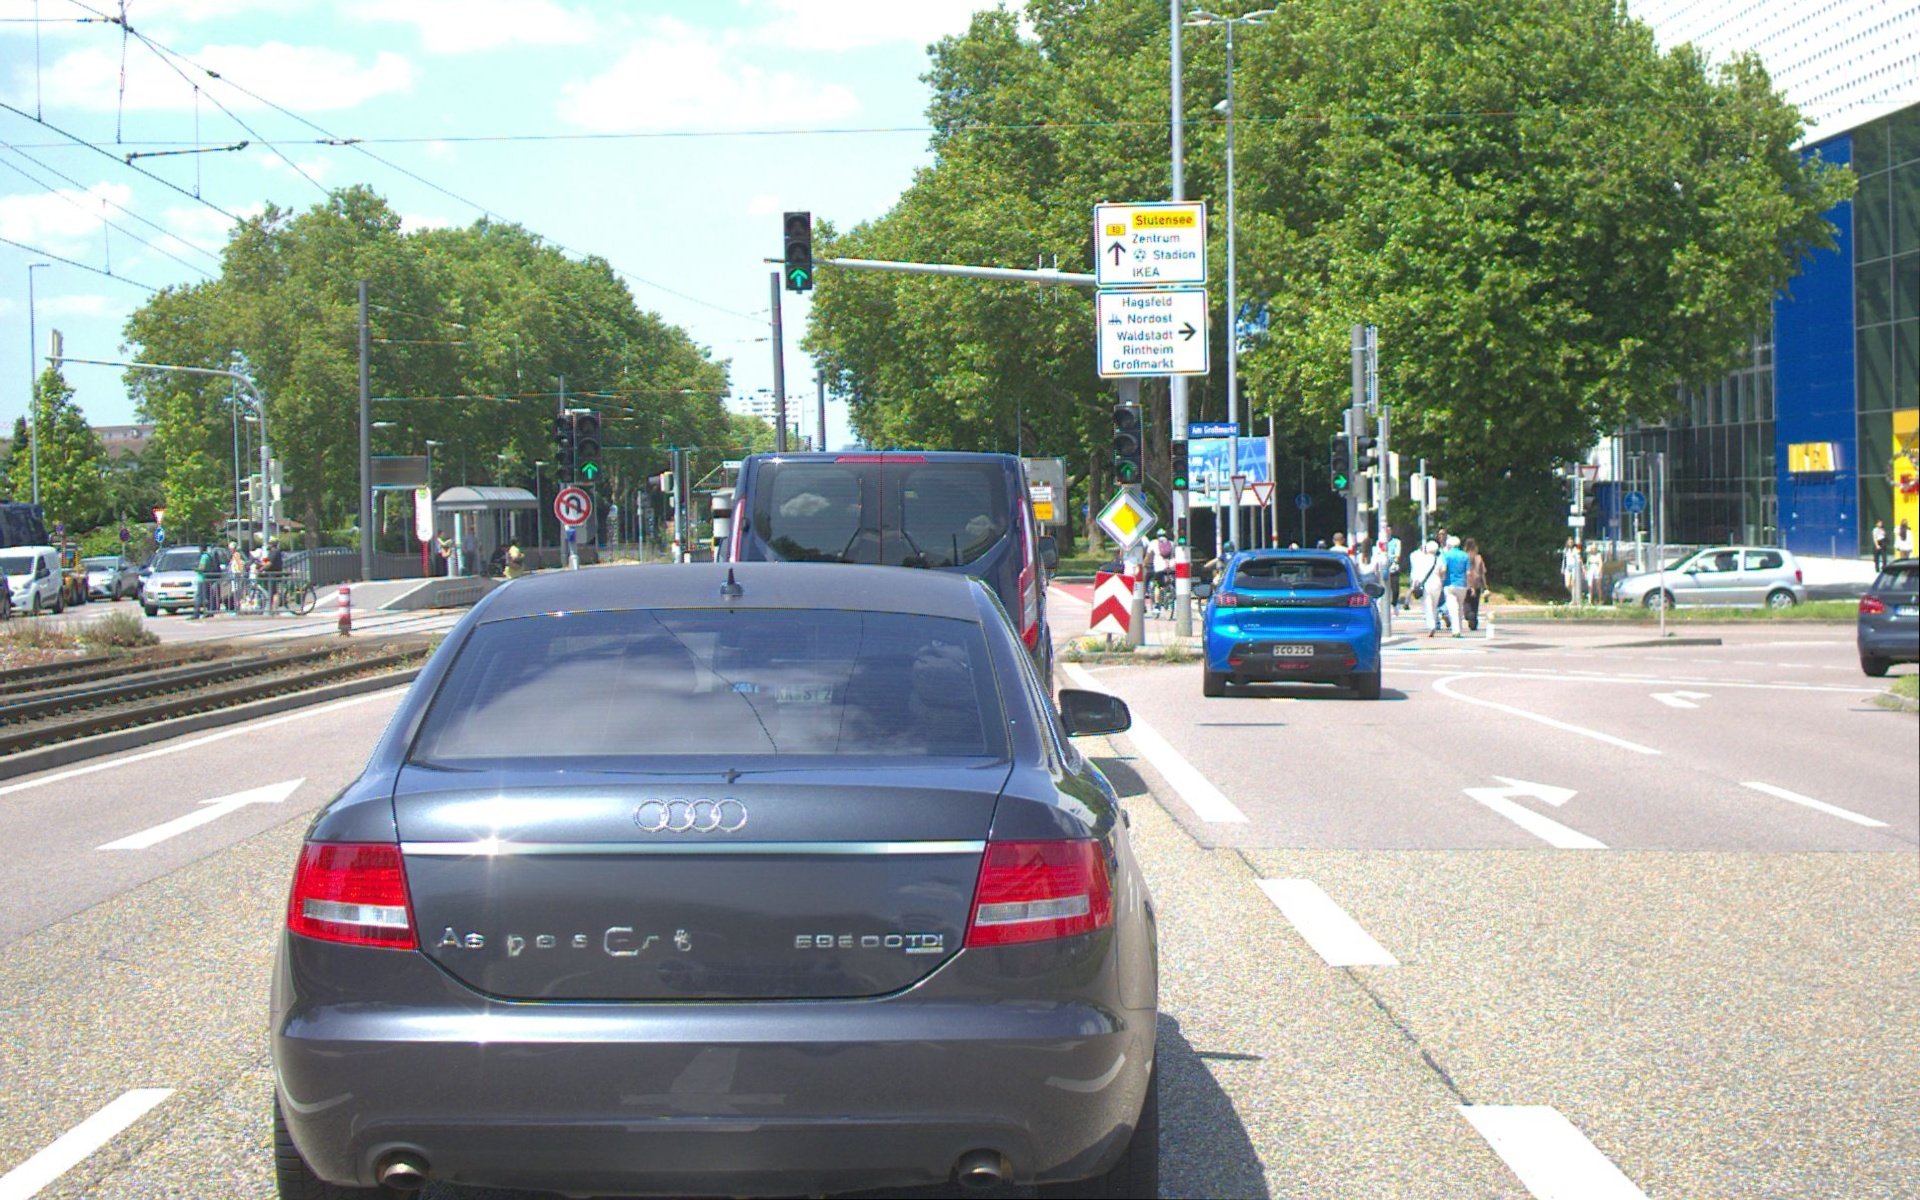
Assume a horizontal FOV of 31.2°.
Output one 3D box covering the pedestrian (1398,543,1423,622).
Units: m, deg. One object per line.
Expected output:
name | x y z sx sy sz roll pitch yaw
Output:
pedestrian | 7.438 -0.293 56.809 0.372 1.299 0.365 0 1 3

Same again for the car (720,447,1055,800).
car | -0.425 0.099 20.901 1.836 1.943 4.000 0 1 -1

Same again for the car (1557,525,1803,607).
car | 14.248 -0.687 68.214 4.498 1.481 2.000 1 1 3

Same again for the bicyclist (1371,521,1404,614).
bicyclist | 8.135 -0.613 65.430 0.529 1.758 0.827 0 1 13

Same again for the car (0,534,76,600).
car | -25.097 -0.892 91.656 1.822 1.664 4.461 1 1 1

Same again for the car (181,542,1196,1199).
car | -0.492 0.612 8.107 1.792 1.450 4.000 0 1 0

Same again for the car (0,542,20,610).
car | -24.712 -0.593 84.790 1.822 1.664 4.461 1 1 0

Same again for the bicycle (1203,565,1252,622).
bicycle | 4.982 -0.127 64.079 0.688 1.002 2.752 0 1 0

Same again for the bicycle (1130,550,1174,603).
bicycle | 3.741 -0.474 67.215 0.688 0.990 2.752 0 1 0

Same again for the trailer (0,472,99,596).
trailer | -28.718 -1.950 101.622 2.767 3.506 15.879 0 1 -1

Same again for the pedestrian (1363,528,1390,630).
pedestrian | 6.725 -0.344 55.507 0.381 1.629 0.377 0 1 3

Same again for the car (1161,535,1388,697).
car | 3.065 0.113 34.273 1.837 1.449 4.000 1 1 0

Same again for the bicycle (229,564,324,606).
bicycle | -15.196 -0.344 76.475 2.055 0.922 0.753 0 1 -10

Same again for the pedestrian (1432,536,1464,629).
pedestrian | 8.679 -0.315 61.167 0.504 1.629 0.449 0 1 3

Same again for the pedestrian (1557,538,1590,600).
pedestrian | 15.263 -0.778 85.509 0.705 1.539 0.677 1 1 19

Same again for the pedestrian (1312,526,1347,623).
pedestrian | 6.234 -0.436 58.002 0.554 1.629 0.433 0 1 3

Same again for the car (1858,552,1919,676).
car | 12.801 0.153 45.009 1.762 1.521 4.096 0 1 18

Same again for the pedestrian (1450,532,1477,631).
pedestrian | 8.356 -0.310 57.032 0.398 1.629 0.371 0 1 3

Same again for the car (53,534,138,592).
car | -28.439 -1.227 113.194 1.817 1.876 4.000 0 1 -1

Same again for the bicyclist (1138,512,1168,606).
bicyclist | 3.726 -0.794 66.428 0.528 1.783 1.088 0 1 0

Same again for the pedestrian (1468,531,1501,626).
pedestrian | 9.327 -0.385 61.161 0.521 1.664 0.494 0 1 3

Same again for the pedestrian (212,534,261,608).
pedestrian | -16.867 -0.679 80.176 0.824 1.714 0.774 1 1 22

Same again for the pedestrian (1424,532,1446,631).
pedestrian | 7.883 -0.311 57.052 0.320 1.629 0.377 0 1 3

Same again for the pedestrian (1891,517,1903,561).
pedestrian | 28.543 -1.866 104.705 0.288 1.338 0.266 0 1 0

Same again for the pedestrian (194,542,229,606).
pedestrian | -16.833 -0.585 77.308 0.685 1.438 0.573 0 1 -4

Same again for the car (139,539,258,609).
car | -19.021 -0.678 86.048 1.822 1.664 4.461 1 1 2

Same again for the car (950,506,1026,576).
car | 0.911 -1.985 115.482 1.993 2.301 4.776 0 1 -7

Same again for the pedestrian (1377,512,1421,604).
pedestrian | 8.869 -0.857 69.399 0.685 1.840 0.706 1 1 25

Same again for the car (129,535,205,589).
car | -28.309 -1.373 122.841 1.817 1.876 4.000 0 1 -1

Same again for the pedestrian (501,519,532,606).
pedestrian | -10.262 -0.873 79.501 0.685 2.007 0.573 0 1 -4

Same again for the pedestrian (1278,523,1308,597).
pedestrian | 6.895 -0.831 71.172 0.494 1.514 0.706 1 1 17

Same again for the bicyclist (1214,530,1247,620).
bicyclist | 5.052 -0.468 64.144 0.528 1.670 1.088 0 1 0

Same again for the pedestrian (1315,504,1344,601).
pedestrian | 6.233 -0.799 57.953 0.445 1.629 0.430 0 1 3
